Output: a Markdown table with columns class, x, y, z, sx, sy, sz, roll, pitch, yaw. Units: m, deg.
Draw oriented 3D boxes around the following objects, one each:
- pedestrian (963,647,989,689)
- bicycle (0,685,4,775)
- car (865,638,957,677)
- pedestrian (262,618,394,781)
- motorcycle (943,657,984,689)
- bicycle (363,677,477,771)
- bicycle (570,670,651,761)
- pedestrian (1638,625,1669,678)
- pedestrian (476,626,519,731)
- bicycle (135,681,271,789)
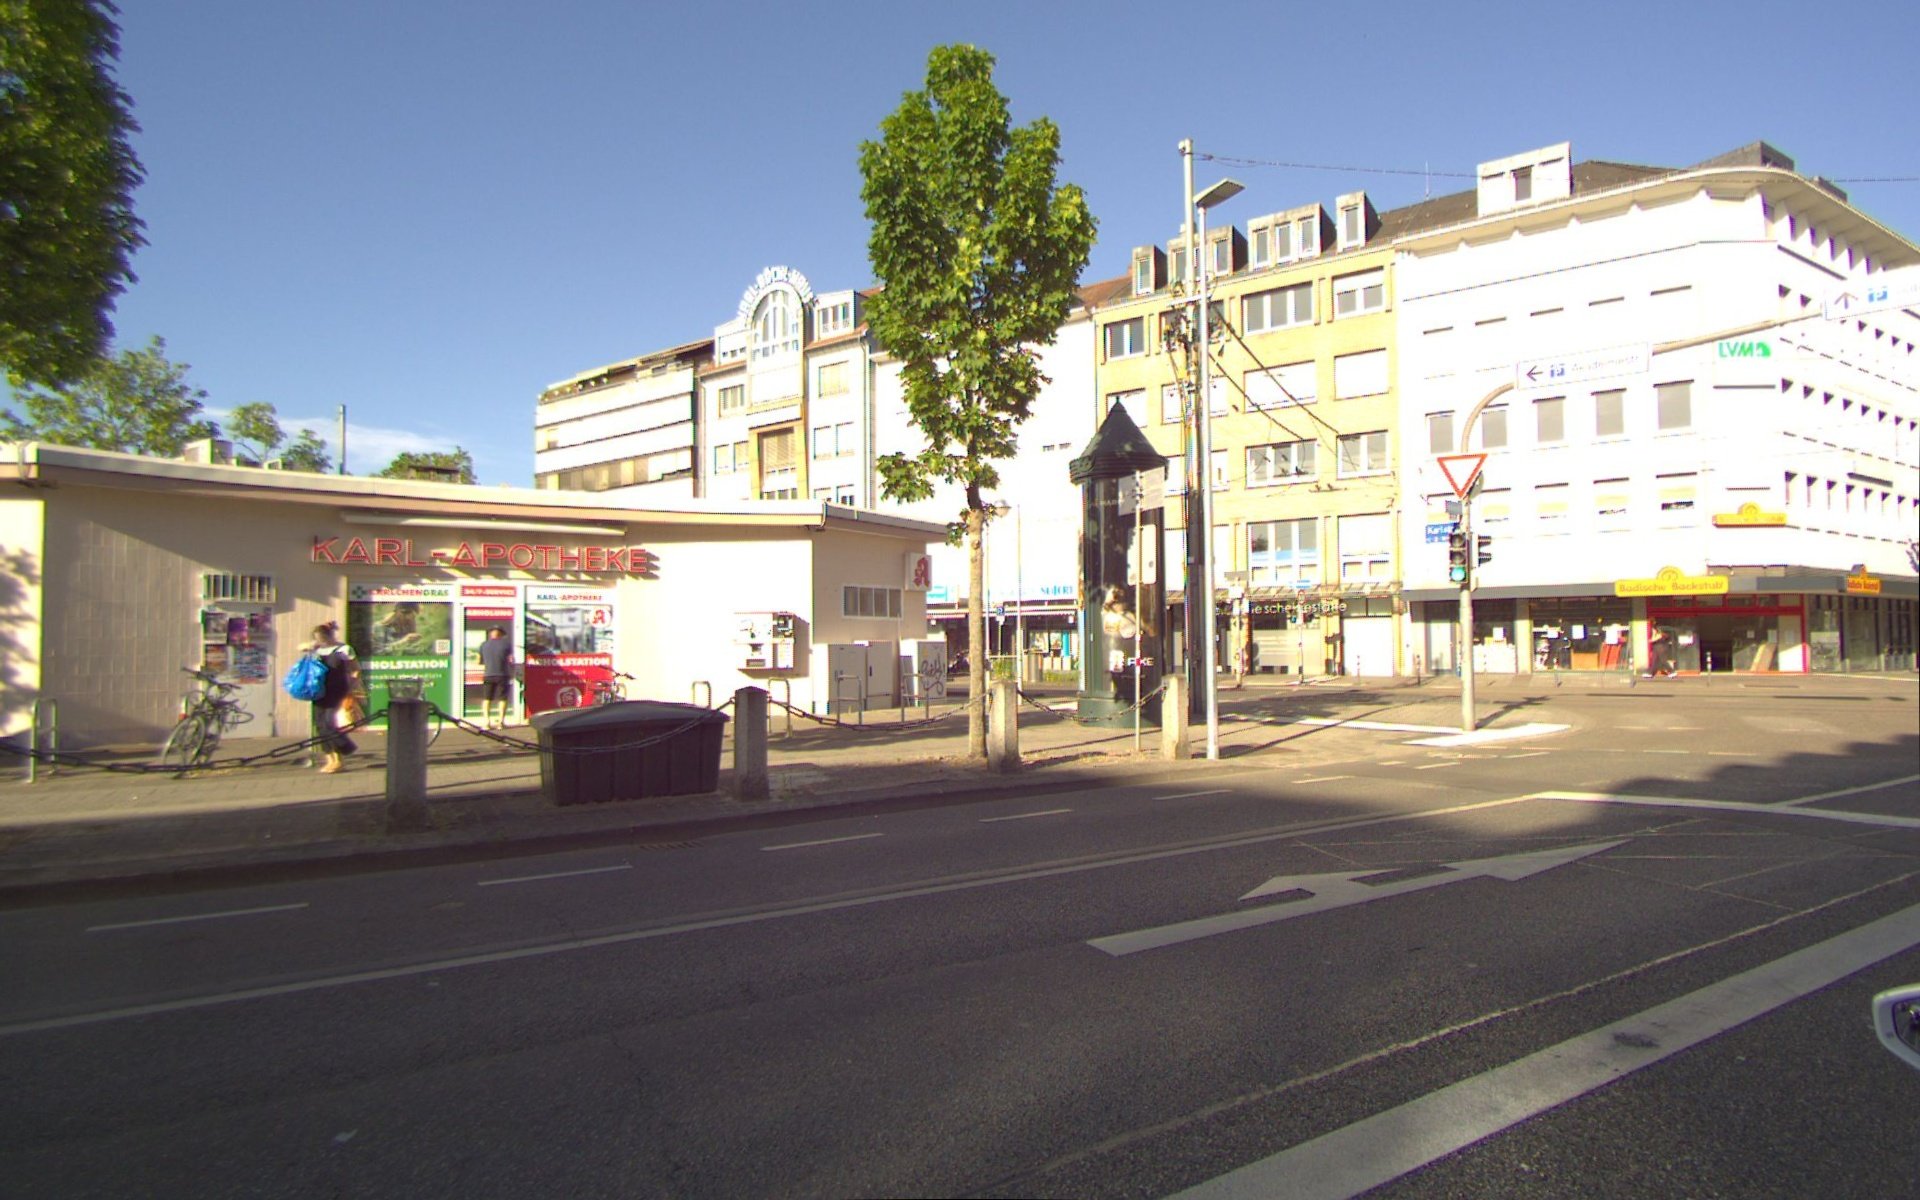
| class | x | y | z | sx | sy | sz | roll | pitch | yaw |
| --- | --- | --- | --- | --- | --- | --- | --- | --- | --- |
| pedestrian | 0.661 | 2.806 | 41.562 | 0.898 | 1.685 | 0.946 | -1 | -3 | 10 |
| bicycle | -10.869 | 1.438 | 10.400 | 0.754 | 1.015 | 1.881 | 0 | -2 | -23 |
| car | -2.330 | 2.705 | 47.319 | 3.934 | 1.728 | 1.994 | -3 | -3 | 35 |
| pedestrian | -7.039 | 1.070 | 11.257 | 0.886 | 1.720 | 1.084 | 0 | -2 | -10 |
| motorcycle | 0.192 | 3.654 | 50.315 | 0.983 | 1.525 | 2.250 | -2 | -3 | 32 |
| bicycle | -6.851 | 1.533 | 12.852 | 0.874 | 1.015 | 2.012 | 0 | -2 | -17 |
| bicycle | -4.903 | 1.560 | 14.013 | 0.744 | 1.102 | 1.980 | 1 | -2 | -29 |
| pedestrian | 22.929 | 1.711 | 33.207 | 0.705 | 1.731 | 0.555 | 1 | -3 | -34 |
| pedestrian | -7.841 | 1.323 | 17.039 | 0.604 | 1.731 | 0.516 | 1 | -3 | -32 |
| bicycle | -8.465 | 1.462 | 11.322 | 0.754 | 1.015 | 1.881 | 0 | -2 | -23 |
